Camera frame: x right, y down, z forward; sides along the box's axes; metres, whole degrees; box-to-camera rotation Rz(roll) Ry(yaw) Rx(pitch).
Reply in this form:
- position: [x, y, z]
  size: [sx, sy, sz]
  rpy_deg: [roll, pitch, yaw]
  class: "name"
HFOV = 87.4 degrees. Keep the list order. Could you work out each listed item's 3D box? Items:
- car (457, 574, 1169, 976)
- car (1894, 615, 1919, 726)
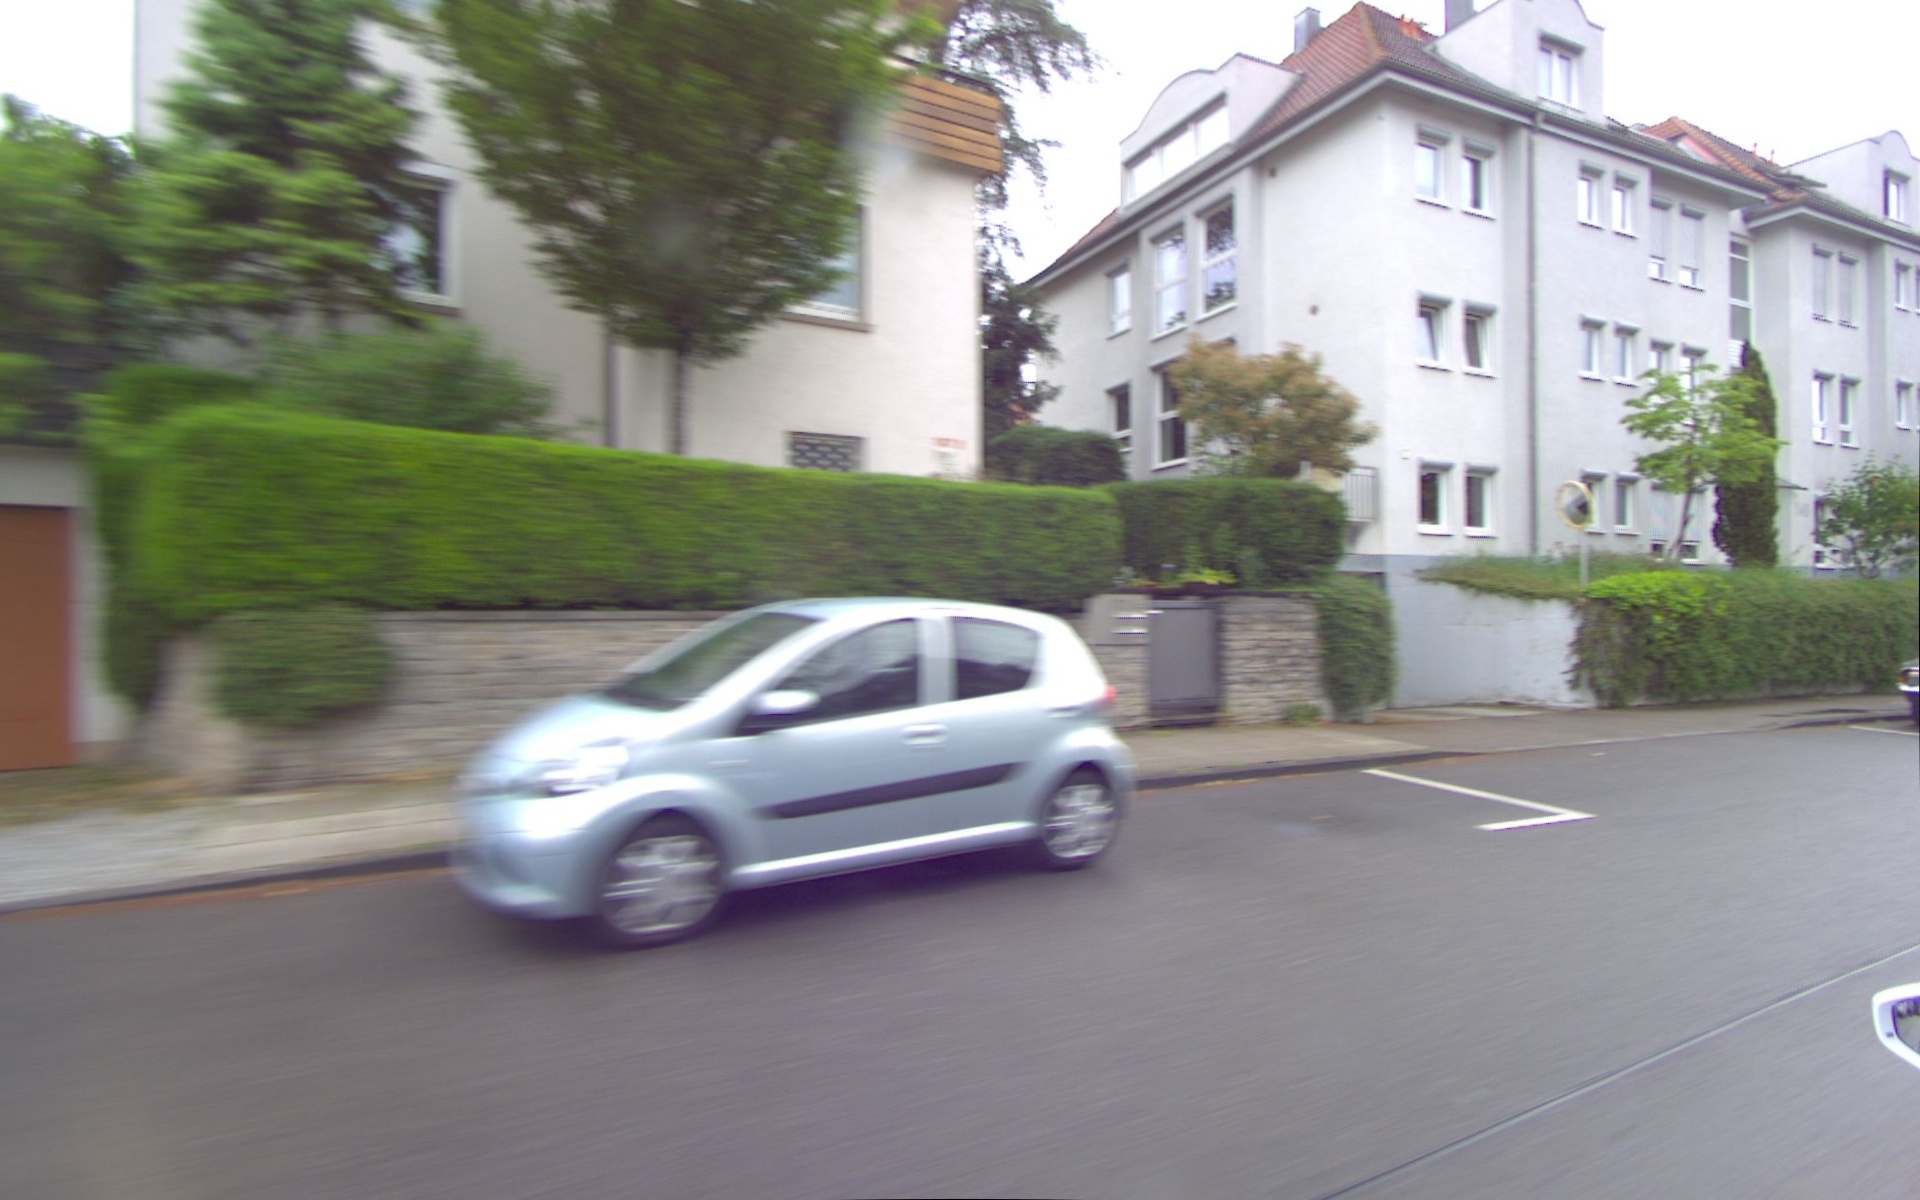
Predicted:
- position: [-0.675, 0.669, 5.405]
  size: [3.452, 1.506, 1.595]
  rpy_deg: [1, 0, -35]
  class: "car"
- position: [14.711, 0.940, 13.605]
  size: [4.555, 1.436, 1.637]
  rpy_deg: [0, 1, -28]
  class: "car"
